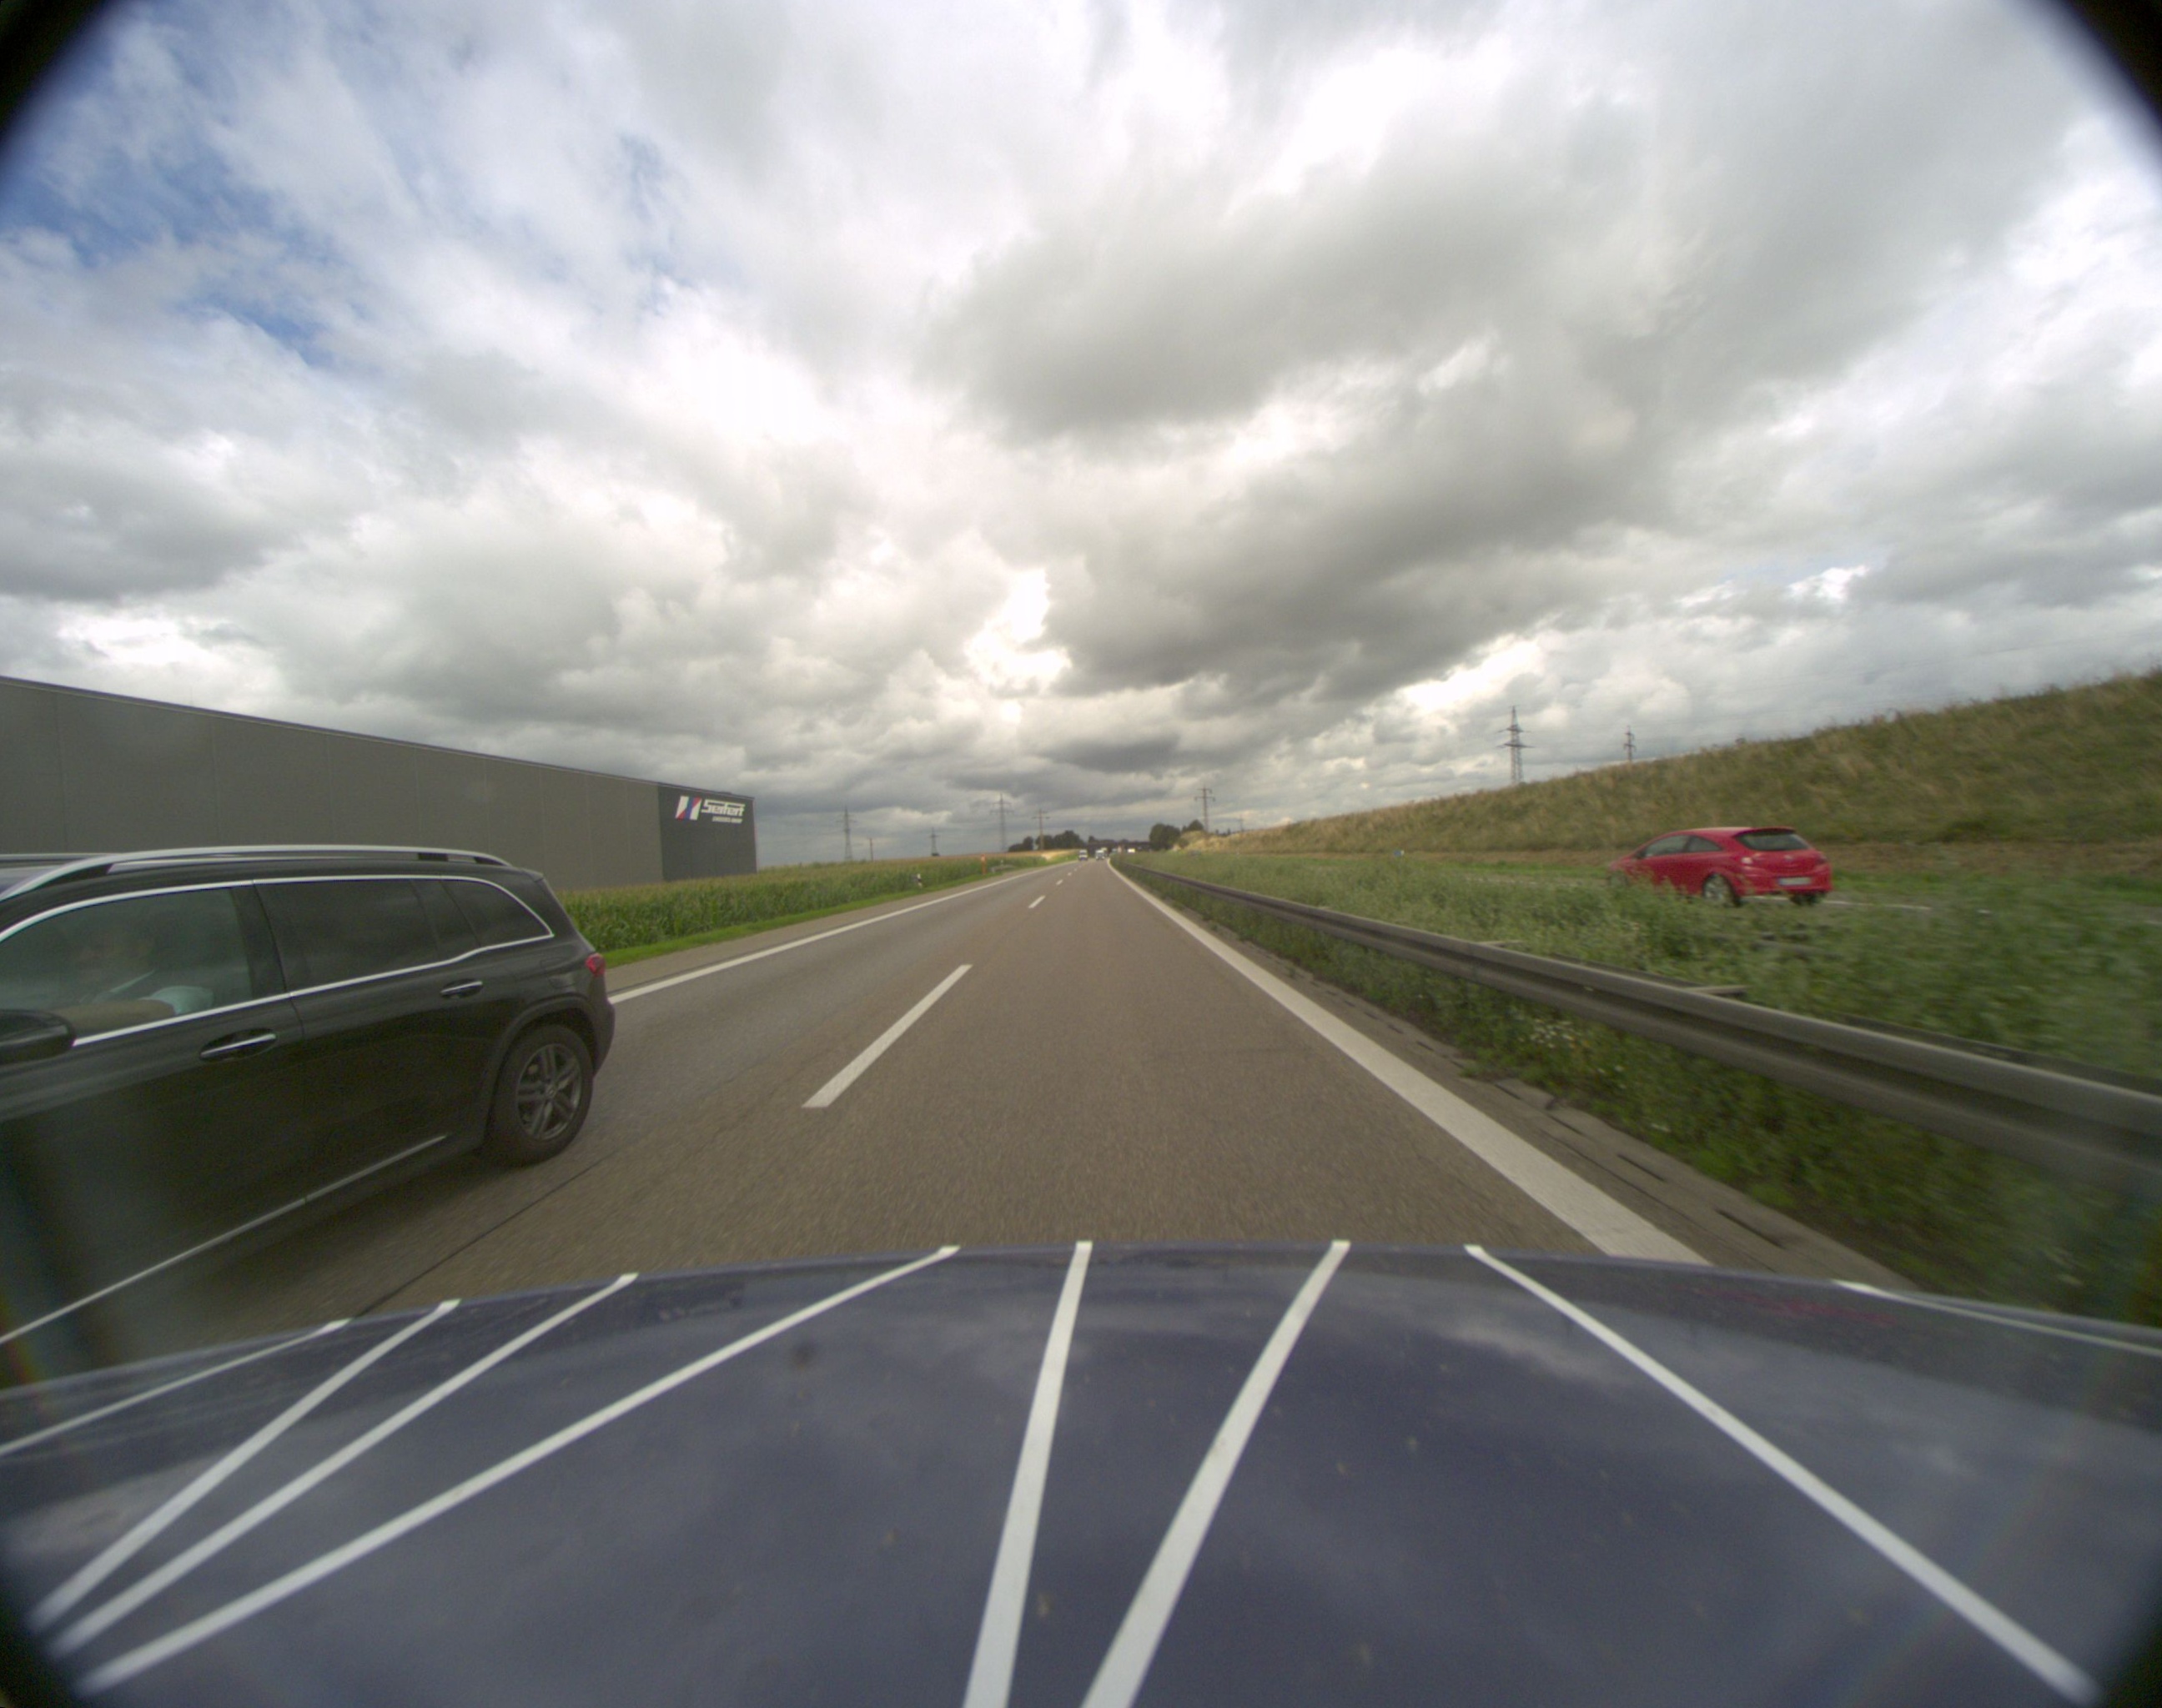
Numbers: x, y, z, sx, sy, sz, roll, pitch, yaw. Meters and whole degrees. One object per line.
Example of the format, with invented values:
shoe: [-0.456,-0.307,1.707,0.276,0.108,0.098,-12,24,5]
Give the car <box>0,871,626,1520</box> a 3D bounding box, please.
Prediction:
car: [-3.748,0.957,2.436,1.838,1.600,4.360,-2,1,1]

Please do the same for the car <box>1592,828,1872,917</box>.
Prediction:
car: [12.214,0.281,14.721,1.728,1.395,4.342,-3,1,1]

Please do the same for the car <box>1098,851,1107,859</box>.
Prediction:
car: [4.917,0.293,173.341,1.998,1.695,4.663,-4,-1,3]

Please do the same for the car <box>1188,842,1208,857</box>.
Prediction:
car: [13.937,-0.592,90.744,1.821,1.692,4.000,-3,1,2]

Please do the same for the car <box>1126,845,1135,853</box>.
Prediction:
car: [14.177,-1.466,217.212,2.129,2.254,5.452,-3,1,2]

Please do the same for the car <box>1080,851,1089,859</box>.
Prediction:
car: [0.823,0.250,182.675,1.998,1.812,4.342,-2,0,2]
